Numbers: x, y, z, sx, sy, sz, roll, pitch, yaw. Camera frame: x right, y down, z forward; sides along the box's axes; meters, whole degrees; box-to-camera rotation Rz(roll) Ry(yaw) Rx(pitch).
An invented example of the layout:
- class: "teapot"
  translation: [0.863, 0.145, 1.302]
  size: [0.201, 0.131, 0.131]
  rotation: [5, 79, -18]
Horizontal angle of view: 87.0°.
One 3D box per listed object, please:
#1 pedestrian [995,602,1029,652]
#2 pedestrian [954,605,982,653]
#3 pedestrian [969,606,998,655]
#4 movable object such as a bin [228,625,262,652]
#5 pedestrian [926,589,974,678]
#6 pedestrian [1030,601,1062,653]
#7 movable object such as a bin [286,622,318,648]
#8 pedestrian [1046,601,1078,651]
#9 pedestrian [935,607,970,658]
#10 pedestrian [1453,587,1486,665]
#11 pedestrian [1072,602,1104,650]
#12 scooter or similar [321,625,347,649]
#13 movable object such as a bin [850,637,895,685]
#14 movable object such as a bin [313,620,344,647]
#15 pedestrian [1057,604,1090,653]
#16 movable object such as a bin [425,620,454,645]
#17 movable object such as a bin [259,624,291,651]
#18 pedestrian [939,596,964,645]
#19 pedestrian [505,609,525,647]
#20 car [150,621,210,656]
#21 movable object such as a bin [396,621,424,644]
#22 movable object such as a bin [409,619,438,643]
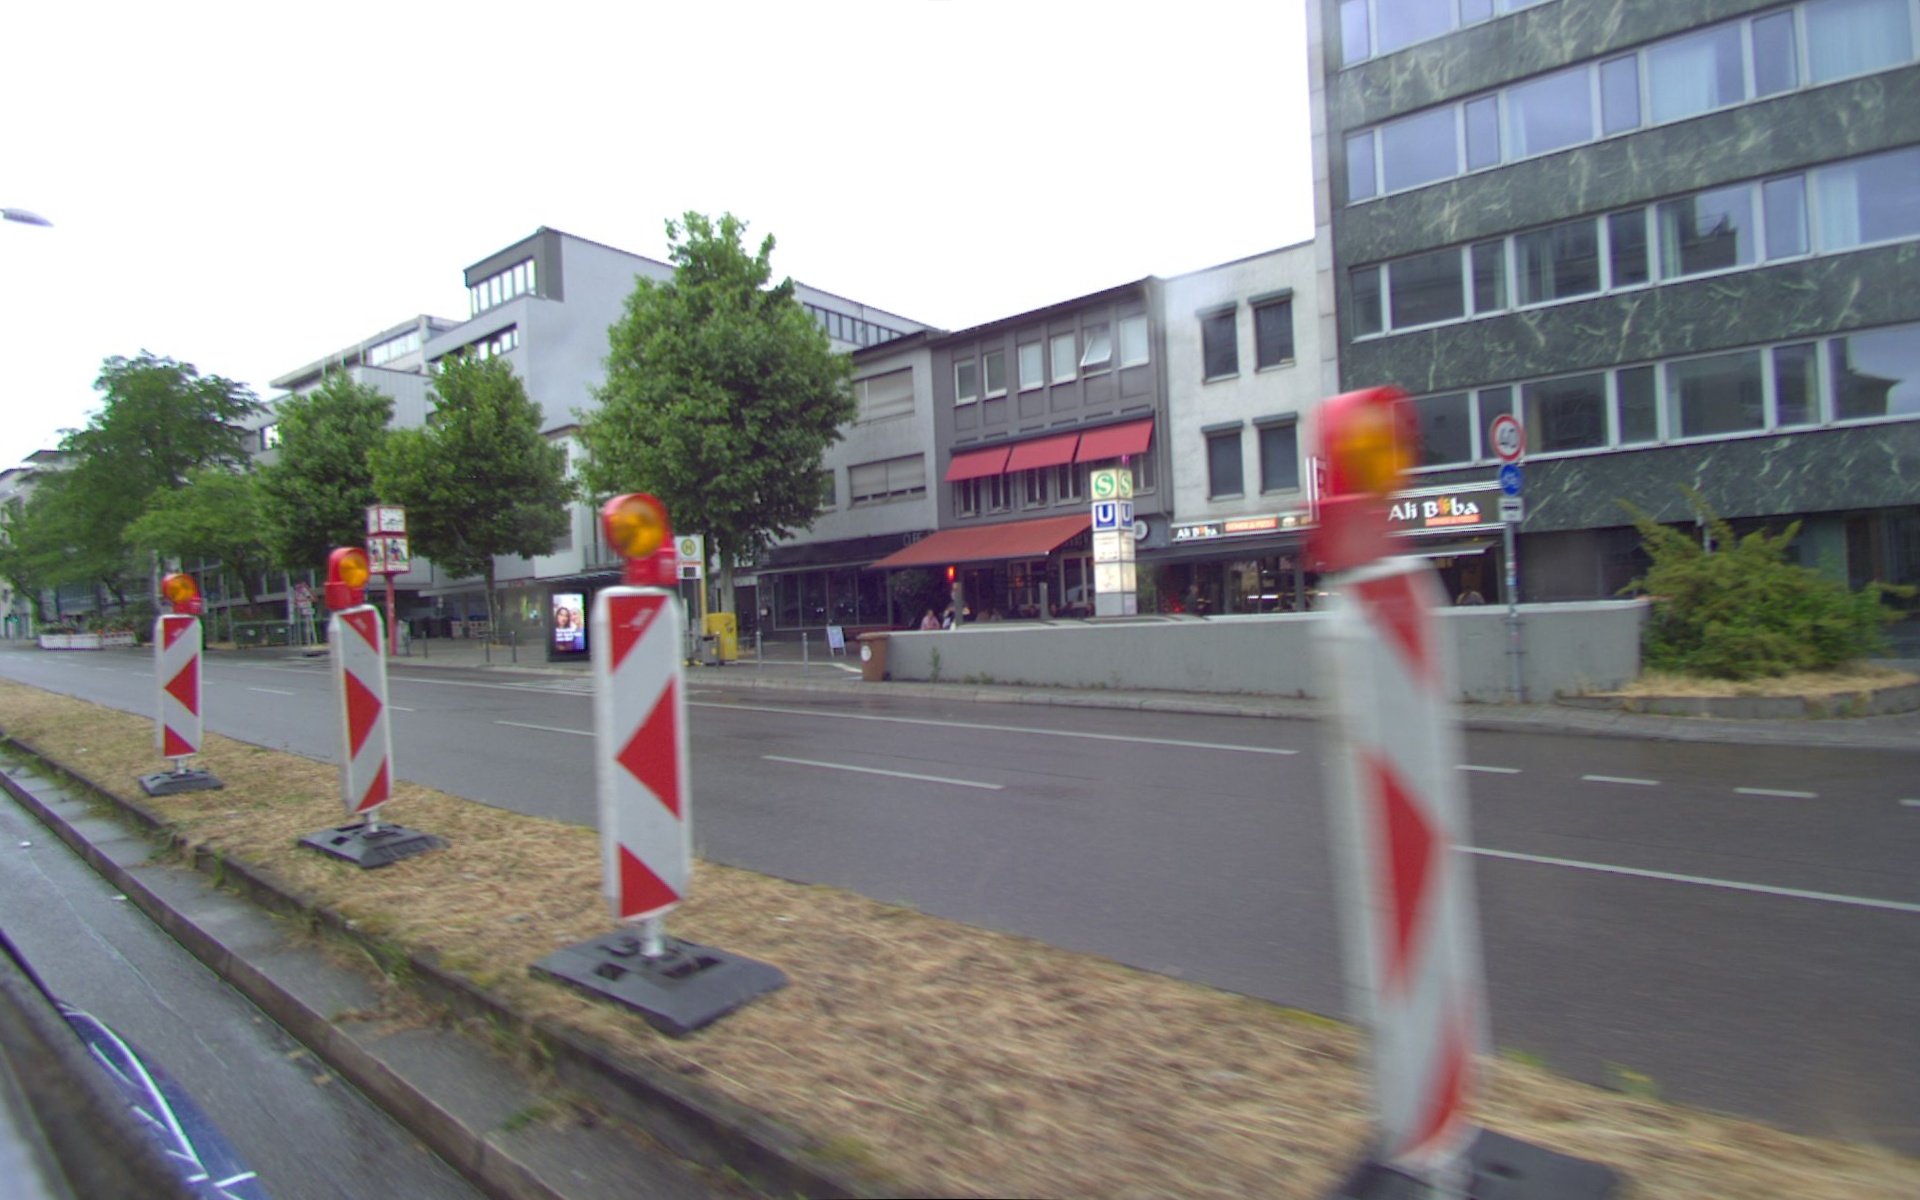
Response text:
- class: "pedestrian"
  translation: [1.562, 0.810, 30.346]
  size: [0.690, 1.461, 0.720]
  rotation: [-2, -1, 34]
- class: "pedestrian"
  translation: [0.256, 0.887, 31.413]
  size: [0.546, 1.461, 0.683]
  rotation: [-2, -1, 37]
- class: "pedestrian"
  translation: [0.725, 0.929, 30.970]
  size: [0.582, 1.461, 0.683]
  rotation: [-2, -1, 38]
- class: "movable object such as a bin"
  translation: [-39.601, 2.108, 56.055]
  size: [1.088, 1.437, 1.345]
  rotation: [-2, -1, 41]
- class: "pedestrian"
  translation: [-0.213, 0.717, 21.948]
  size: [0.757, 1.899, 0.683]
  rotation: [-2, -1, 37]
- class: "pedestrian"
  translation: [2.494, 0.777, 29.318]
  size: [0.690, 1.461, 0.627]
  rotation: [-2, -1, 34]
- class: "movable object such as a bin"
  translation: [-37.849, 2.028, 58.188]
  size: [1.088, 1.437, 1.265]
  rotation: [-2, -1, 41]
- class: "pedestrian"
  translation: [3.022, 0.780, 30.039]
  size: [0.690, 1.461, 0.627]
  rotation: [-2, -1, 34]
- class: "pedestrian"
  translation: [-0.217, 0.936, 29.571]
  size: [0.706, 1.461, 0.683]
  rotation: [-2, -1, 37]
- class: "pedestrian"
  translation: [12.513, 0.632, 24.850]
  size: [0.590, 1.899, 0.749]
  rotation: [-2, -1, 34]
- class: "pedestrian"
  translation: [3.731, 0.759, 29.477]
  size: [0.690, 1.366, 0.627]
  rotation: [-2, -1, 34]
- class: "scooter or similar"
  translation: [-32.708, 1.935, 52.884]
  size: [1.323, 1.130, 0.767]
  rotation: [-6, -1, 42]
- class: "movable object such as a bin"
  translation: [-1.691, 1.166, 19.540]
  size: [0.680, 0.904, 0.527]
  rotation: [-2, -3, 32]
- class: "movable object such as a bin"
  translation: [-36.957, 1.950, 59.241]
  size: [1.088, 1.499, 1.265]
  rotation: [-2, -1, 41]
- class: "pedestrian"
  translation: [3.239, 0.809, 28.866]
  size: [0.690, 1.354, 0.627]
  rotation: [-2, -1, 34]
- class: "movable object such as a bin"
  translation: [-31.999, 2.000, 62.188]
  size: [1.278, 1.446, 1.077]
  rotation: [-2, -1, 32]
- class: "movable object such as a bin"
  translation: [-38.687, 2.112, 57.145]
  size: [1.088, 1.437, 1.265]
  rotation: [-2, -1, 41]
- class: "pedestrian"
  translation: [-0.276, 0.672, 33.467]
  size: [0.603, 1.582, 0.591]
  rotation: [-2, -1, 31]
- class: "pedestrian"
  translation: [-21.345, 1.346, 48.560]
  size: [0.653, 1.776, 0.688]
  rotation: [-2, -2, 43]
- class: "car"
  translation: [-43.575, 2.129, 56.520]
  size: [4.019, 1.648, 1.761]
  rotation: [2, 2, 39]
- class: "movable object such as a bin"
  translation: [-34.586, 2.042, 63.641]
  size: [1.278, 1.446, 1.077]
  rotation: [-2, -1, 32]
- class: "movable object such as a bin"
  translation: [-33.302, 1.948, 62.784]
  size: [1.278, 1.446, 1.077]
  rotation: [-2, -1, 32]
